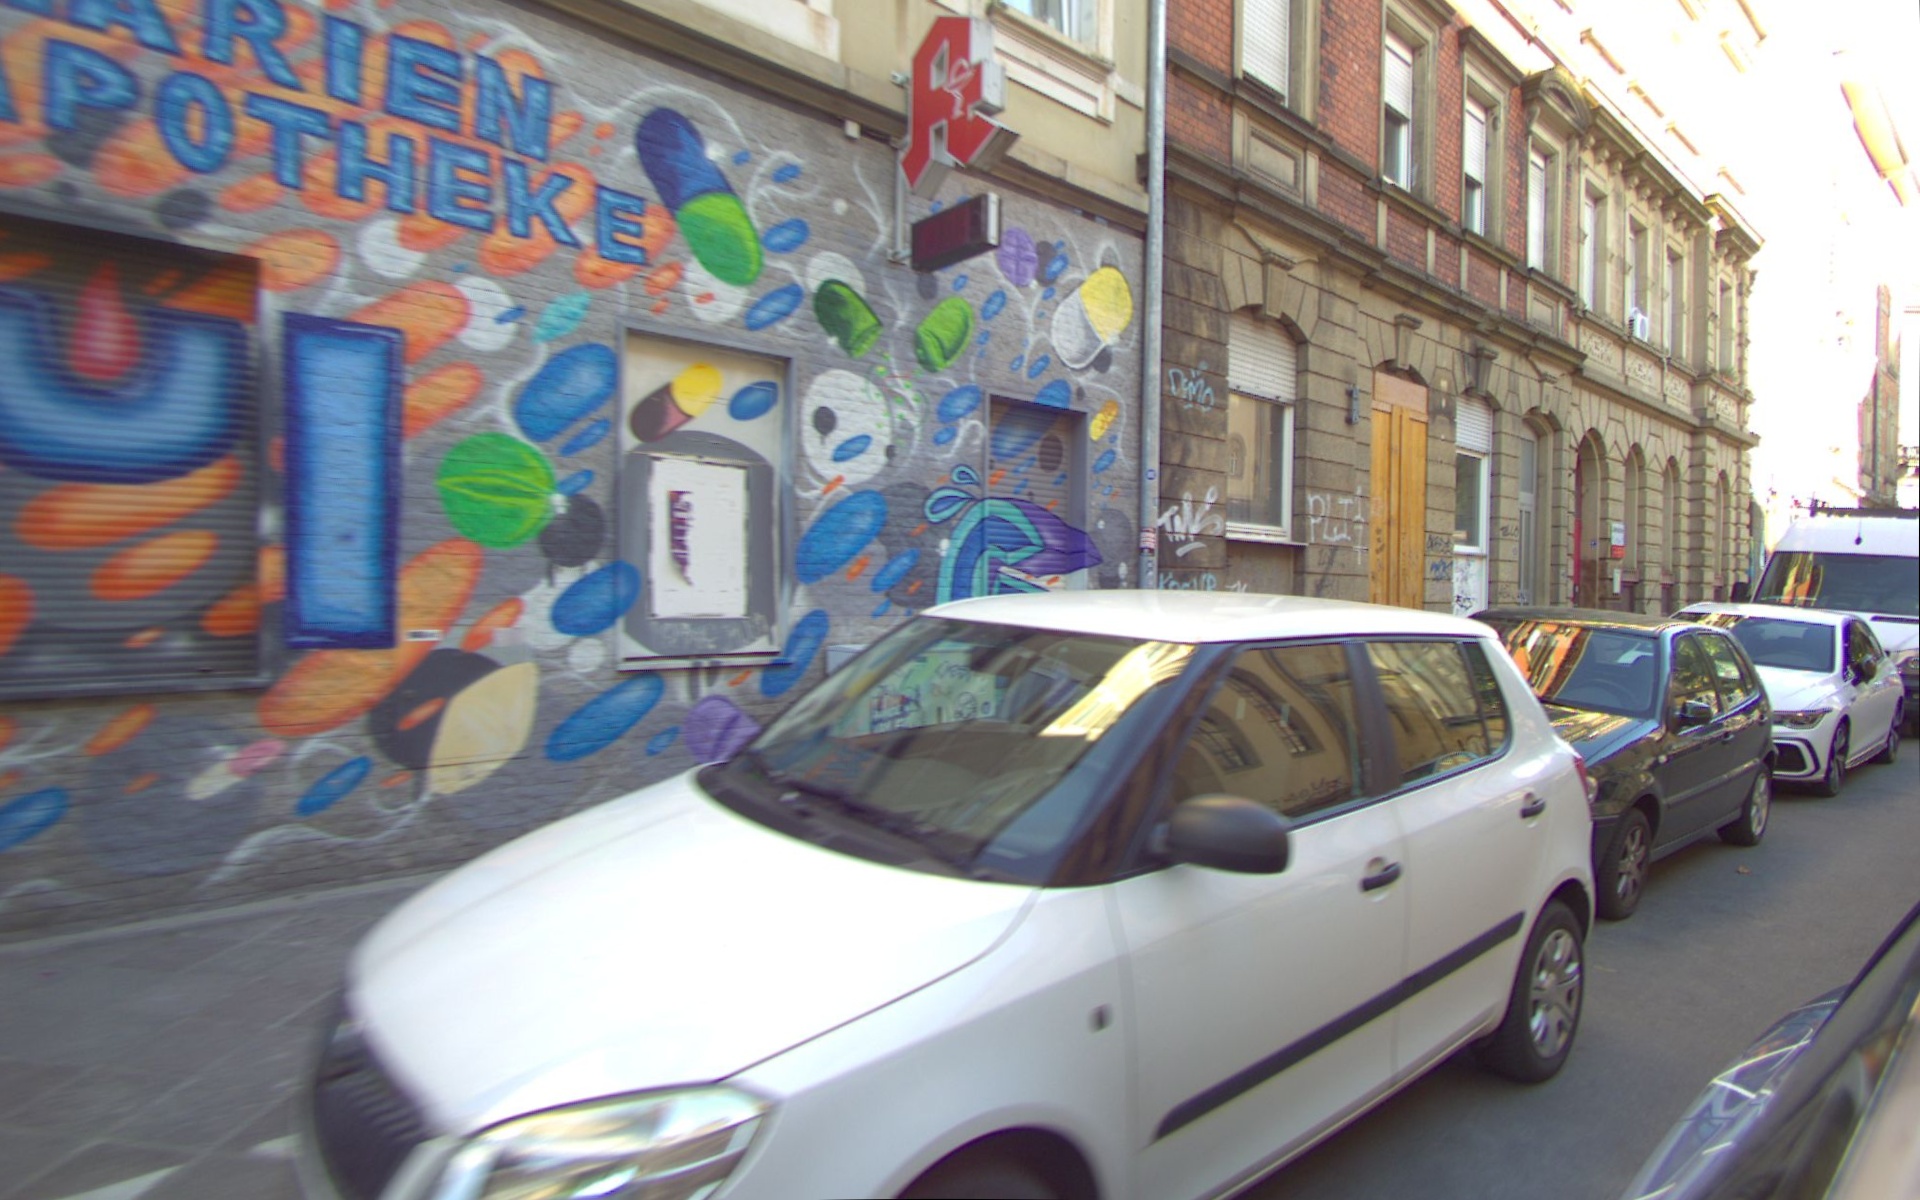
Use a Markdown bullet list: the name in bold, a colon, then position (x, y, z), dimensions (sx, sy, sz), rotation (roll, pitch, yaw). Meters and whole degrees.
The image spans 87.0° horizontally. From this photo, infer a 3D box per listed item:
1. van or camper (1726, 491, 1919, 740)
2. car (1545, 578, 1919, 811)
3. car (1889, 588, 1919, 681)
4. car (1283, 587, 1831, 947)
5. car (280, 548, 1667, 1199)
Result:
- **van or camper**: position (12.077, 0.128, 13.298), dimensions (5.874, 2.665, 1.997), rotation (-1, 0, -41)
- **car**: position (7.418, 0.643, 9.459), dimensions (4.484, 1.667, 1.997), rotation (-1, 0, -41)
- **car**: position (18.834, 0.615, 18.944), dimensions (3.746, 1.645, 1.695), rotation (0, 0, -41)
- **car**: position (3.764, 0.693, 6.120), dimensions (3.841, 1.505, 1.590), rotation (-1, 0, -38)
- **car**: position (0.546, 0.688, 3.009), dimensions (4.127, 1.546, 1.557), rotation (-1, 0, -40)
